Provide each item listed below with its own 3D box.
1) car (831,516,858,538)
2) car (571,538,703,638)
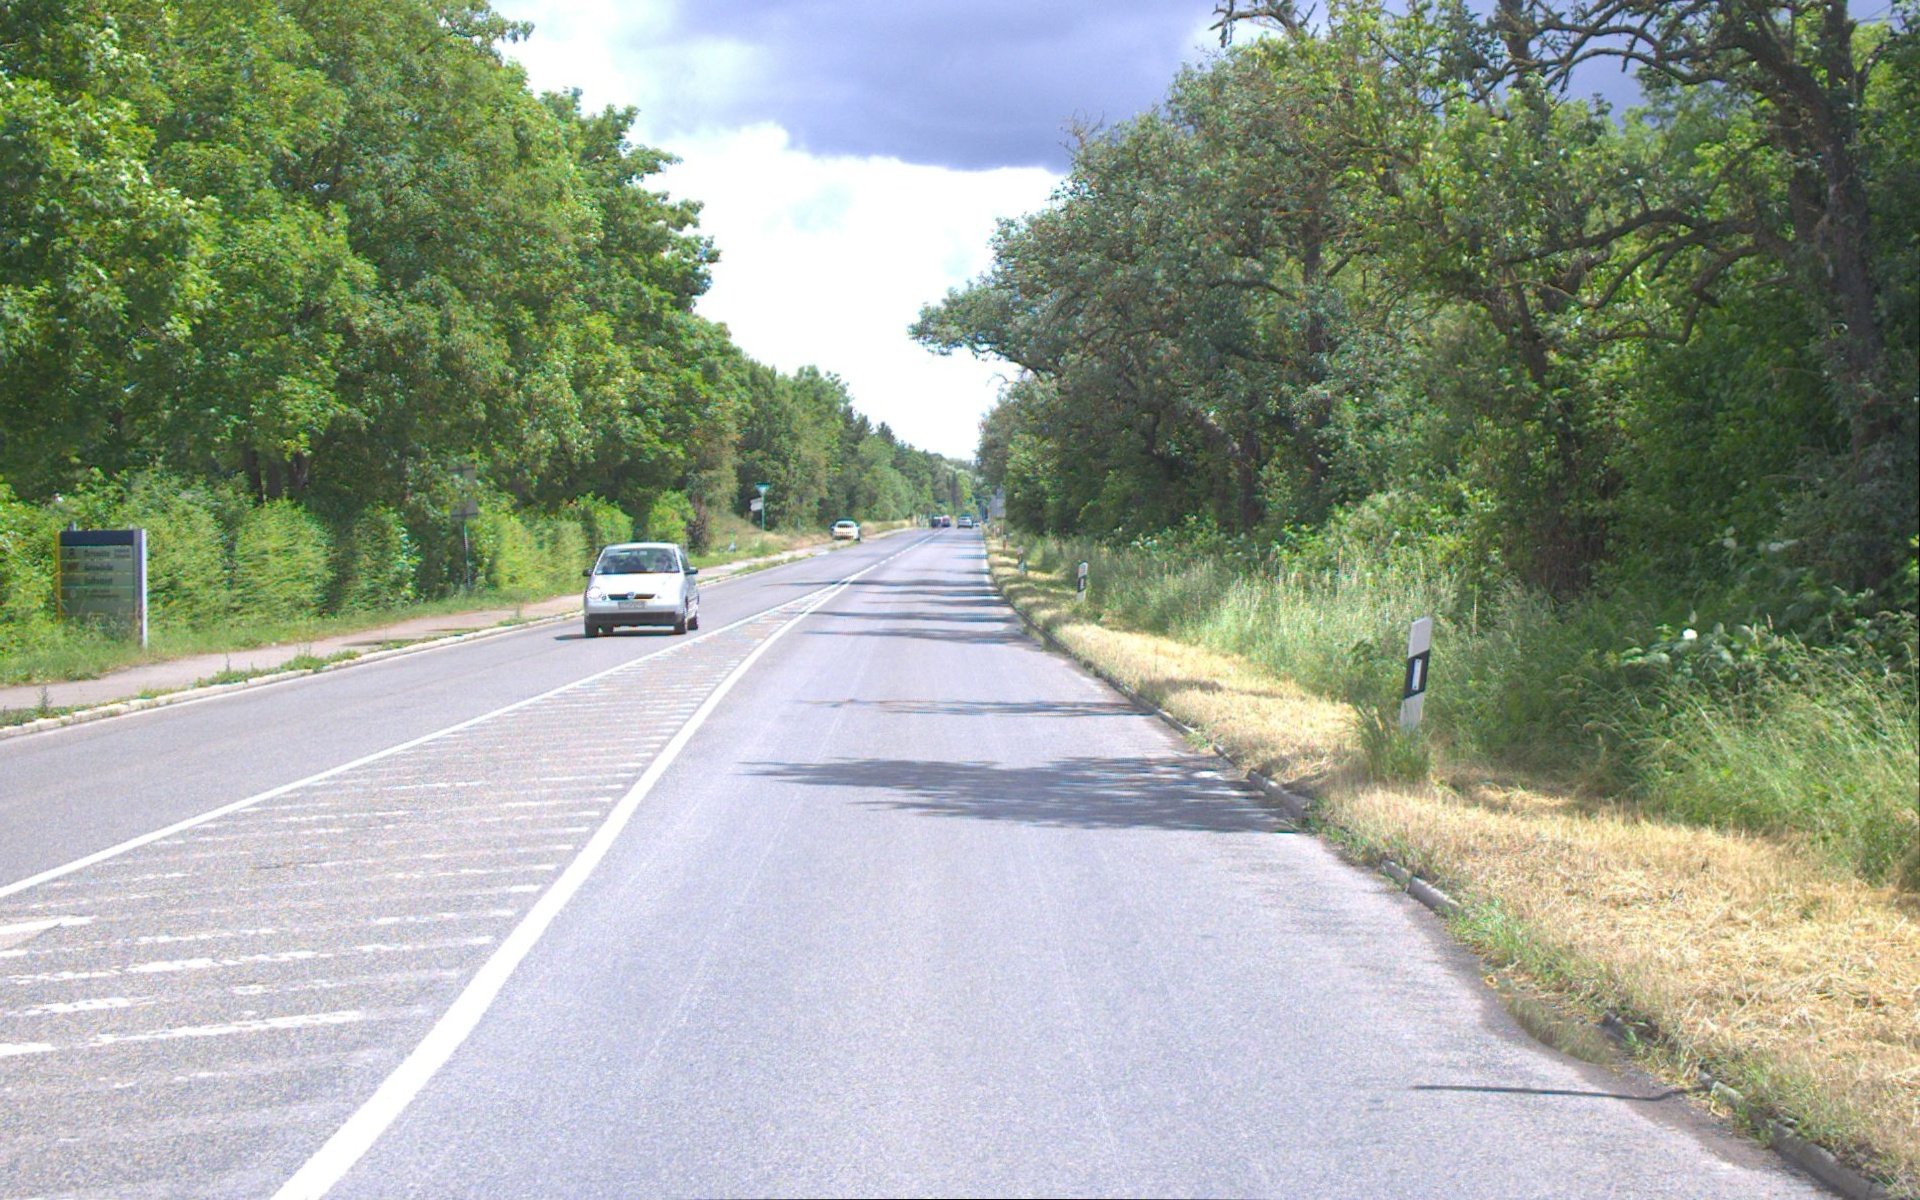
[{"bbox_3d":[-8.429,-5.337,250.827,1.798,1.538,3.955,0,0,1],"label":"car"},{"bbox_3d":[-5.065,-0.218,54.309,1.660,1.427,3.693,-2,2,1],"label":"car"}]
